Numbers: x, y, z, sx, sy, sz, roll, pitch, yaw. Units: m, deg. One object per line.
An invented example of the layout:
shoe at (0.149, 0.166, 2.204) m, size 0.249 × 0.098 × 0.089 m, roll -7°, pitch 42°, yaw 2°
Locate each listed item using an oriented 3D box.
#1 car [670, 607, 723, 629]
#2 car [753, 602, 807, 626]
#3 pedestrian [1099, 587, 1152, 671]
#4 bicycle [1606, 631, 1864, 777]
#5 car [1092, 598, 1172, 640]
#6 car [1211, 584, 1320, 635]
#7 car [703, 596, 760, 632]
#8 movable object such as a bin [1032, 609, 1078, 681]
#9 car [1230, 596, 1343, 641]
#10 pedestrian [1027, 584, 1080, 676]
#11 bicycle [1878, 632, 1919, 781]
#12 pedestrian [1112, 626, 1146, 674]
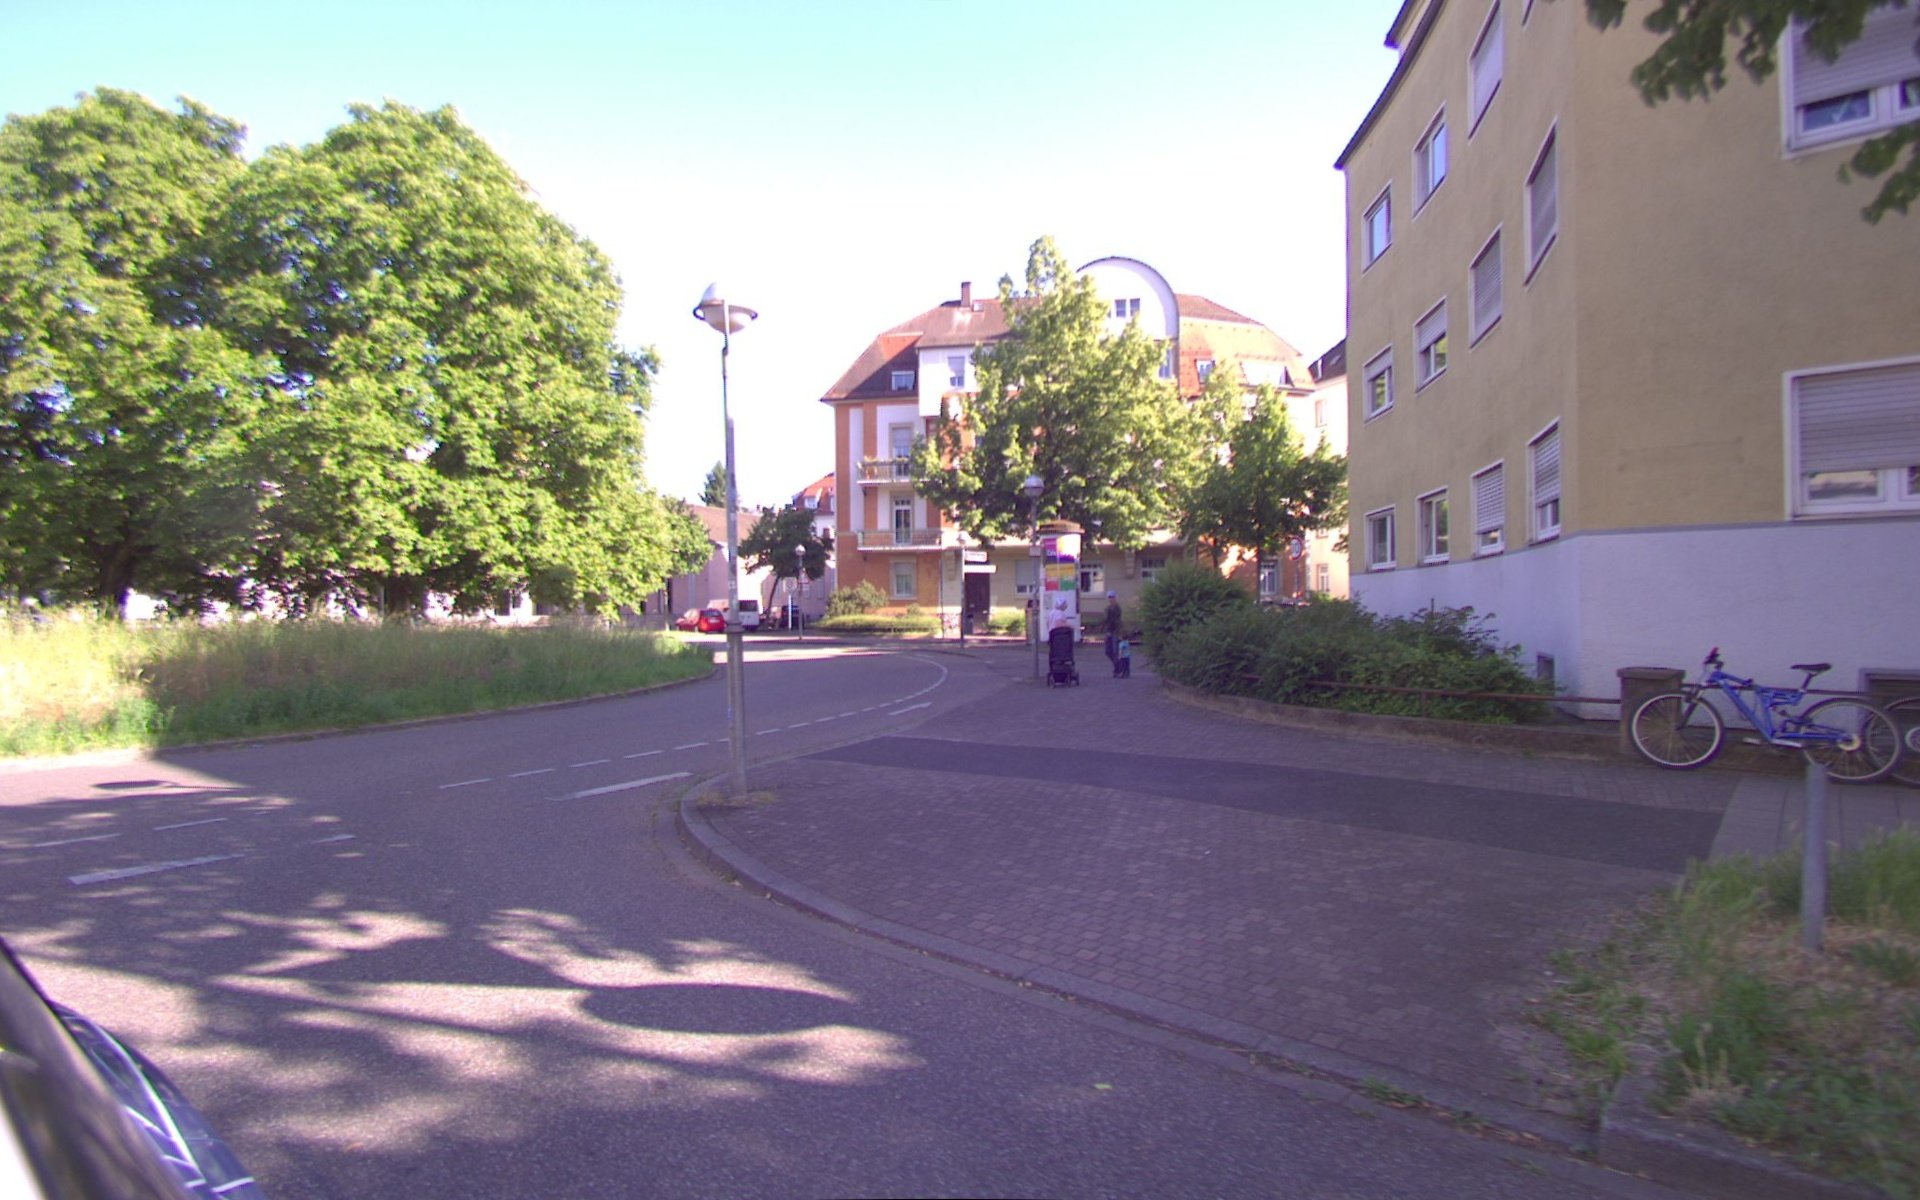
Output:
car at (-15.074, 1.041, 57.824) m, size 1.739 × 1.187 × 4.011 m, roll 0°, pitch -1°, yaw -33°
car at (-11.736, 0.929, 65.906) m, size 1.716 × 1.491 × 4.007 m, roll 0°, pitch -1°, yaw -39°
pedestrian at (3.264, 0.562, 19.972) m, size 0.747 × 1.627 × 0.748 m, roll -1°, pitch -1°, yaw 41°
bicycle at (5.960, 0.754, 7.845) m, size 1.544 × 1.008 × 0.471 m, roll -1°, pitch -1°, yaw 42°
car at (6.317, 0.671, 36.793) m, size 1.987 × 1.409 × 3.968 m, roll -1°, pitch -1°, yaw 23°
car at (11.947, 0.374, 39.850) m, size 1.965 × 1.895 × 4.013 m, roll 0°, pitch -1°, yaw -23°
car at (-13.631, 0.832, 60.179) m, size 1.967 × 2.029 × 4.010 m, roll 0°, pitch -1°, yaw -34°
movable object such as a bin at (1.635, 0.771, 17.530) m, size 0.759 × 1.205 × 0.843 m, roll -1°, pitch -1°, yaw 5°
car at (11.122, 0.630, 34.809) m, size 1.680 × 1.435 × 4.269 m, roll -1°, pitch -1°, yaw -14°
pedestrian at (1.692, 0.538, 18.332) m, size 0.665 × 1.627 × 0.686 m, roll -1°, pitch -1°, yaw 44°
bicycle at (7.151, 0.726, 6.713) m, size 1.544 × 1.008 × 0.470 m, roll -1°, pitch -1°, yaw 42°
pedestrian at (3.223, 0.939, 19.282) m, size 0.424 × 0.882 × 0.456 m, roll 0°, pitch -1°, yaw -41°
